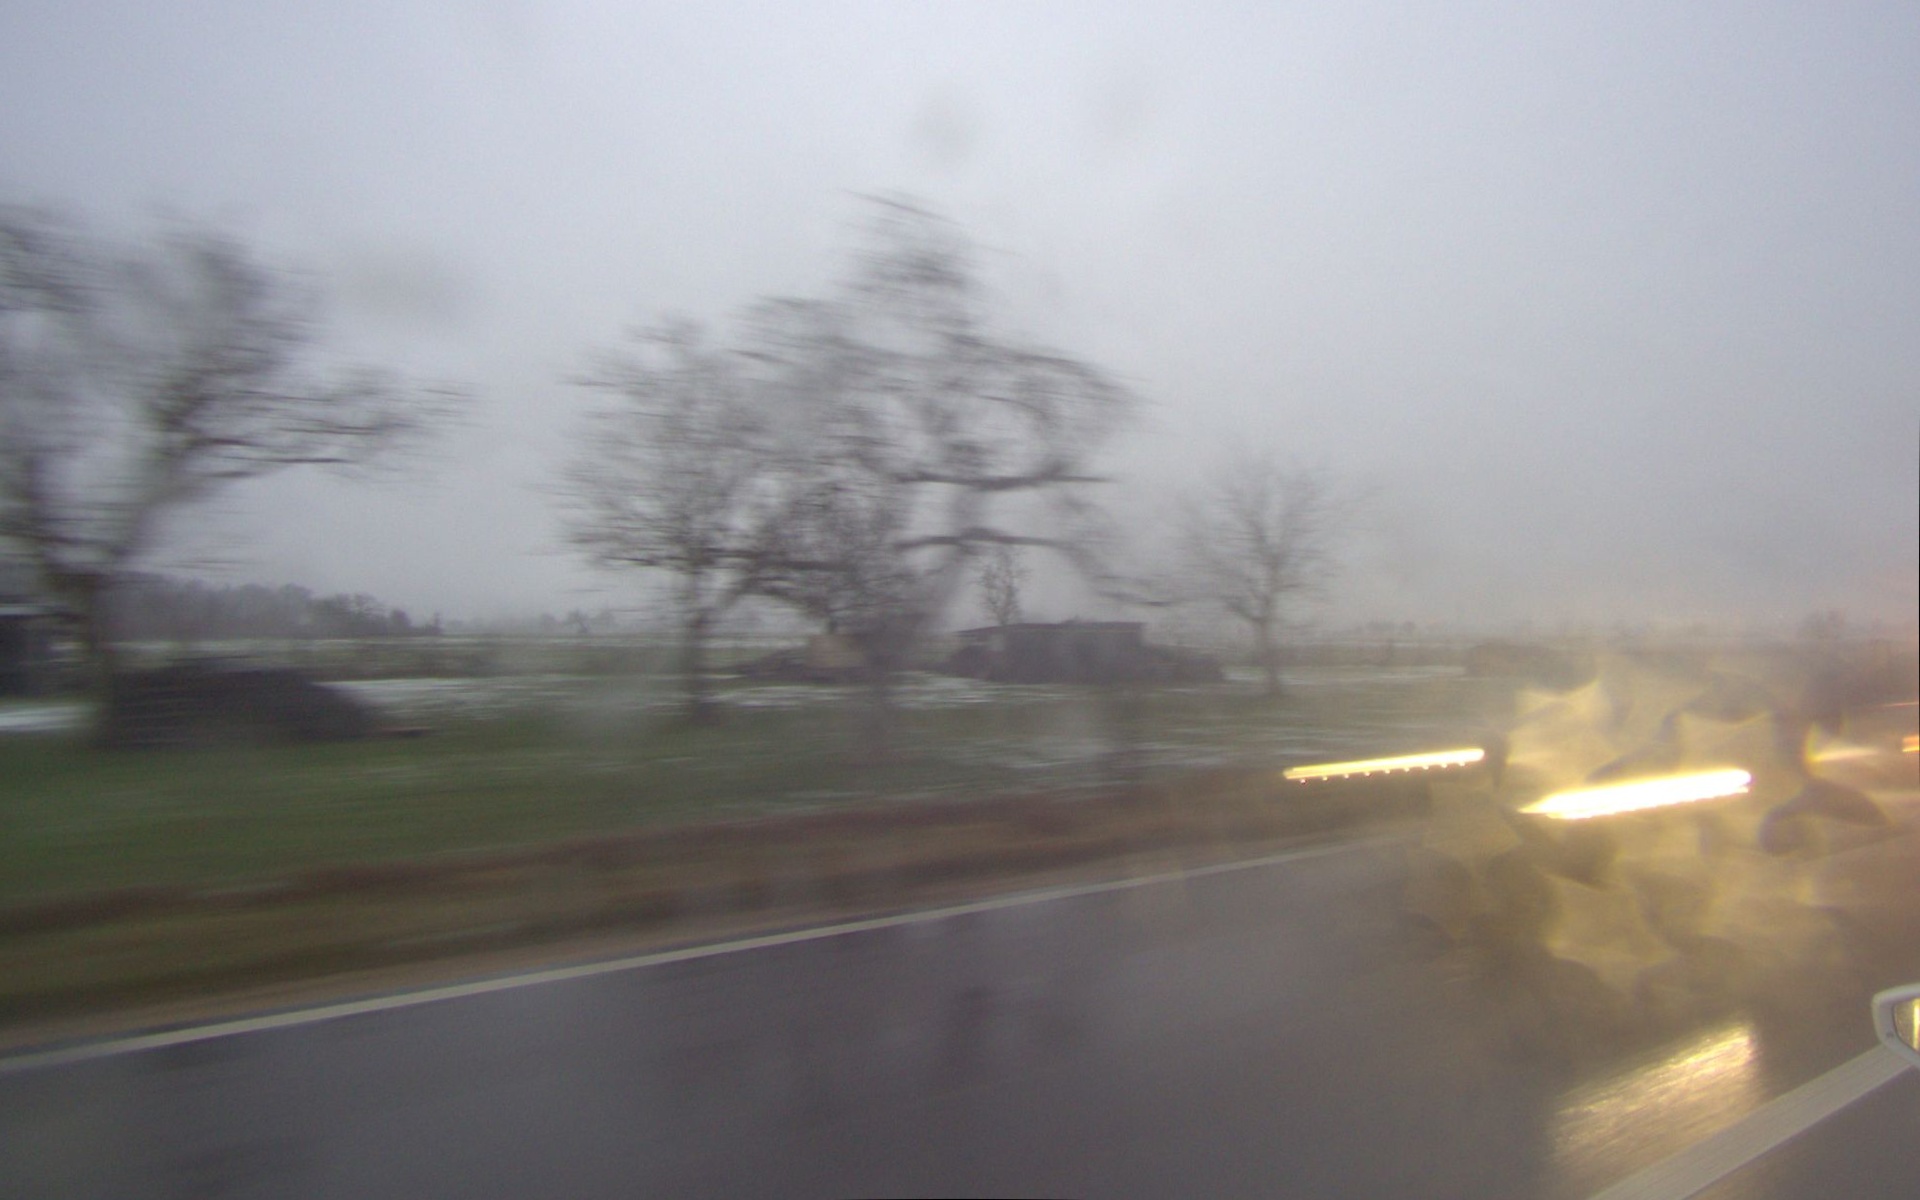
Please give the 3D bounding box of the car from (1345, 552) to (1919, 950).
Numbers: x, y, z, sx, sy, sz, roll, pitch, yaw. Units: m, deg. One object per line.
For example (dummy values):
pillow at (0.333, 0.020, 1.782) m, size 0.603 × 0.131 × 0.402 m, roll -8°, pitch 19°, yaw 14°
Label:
car at (4.742, 0.770, 6.588) m, size 4.443 × 1.830 × 1.815 m, roll 1°, pitch -3°, yaw -32°
